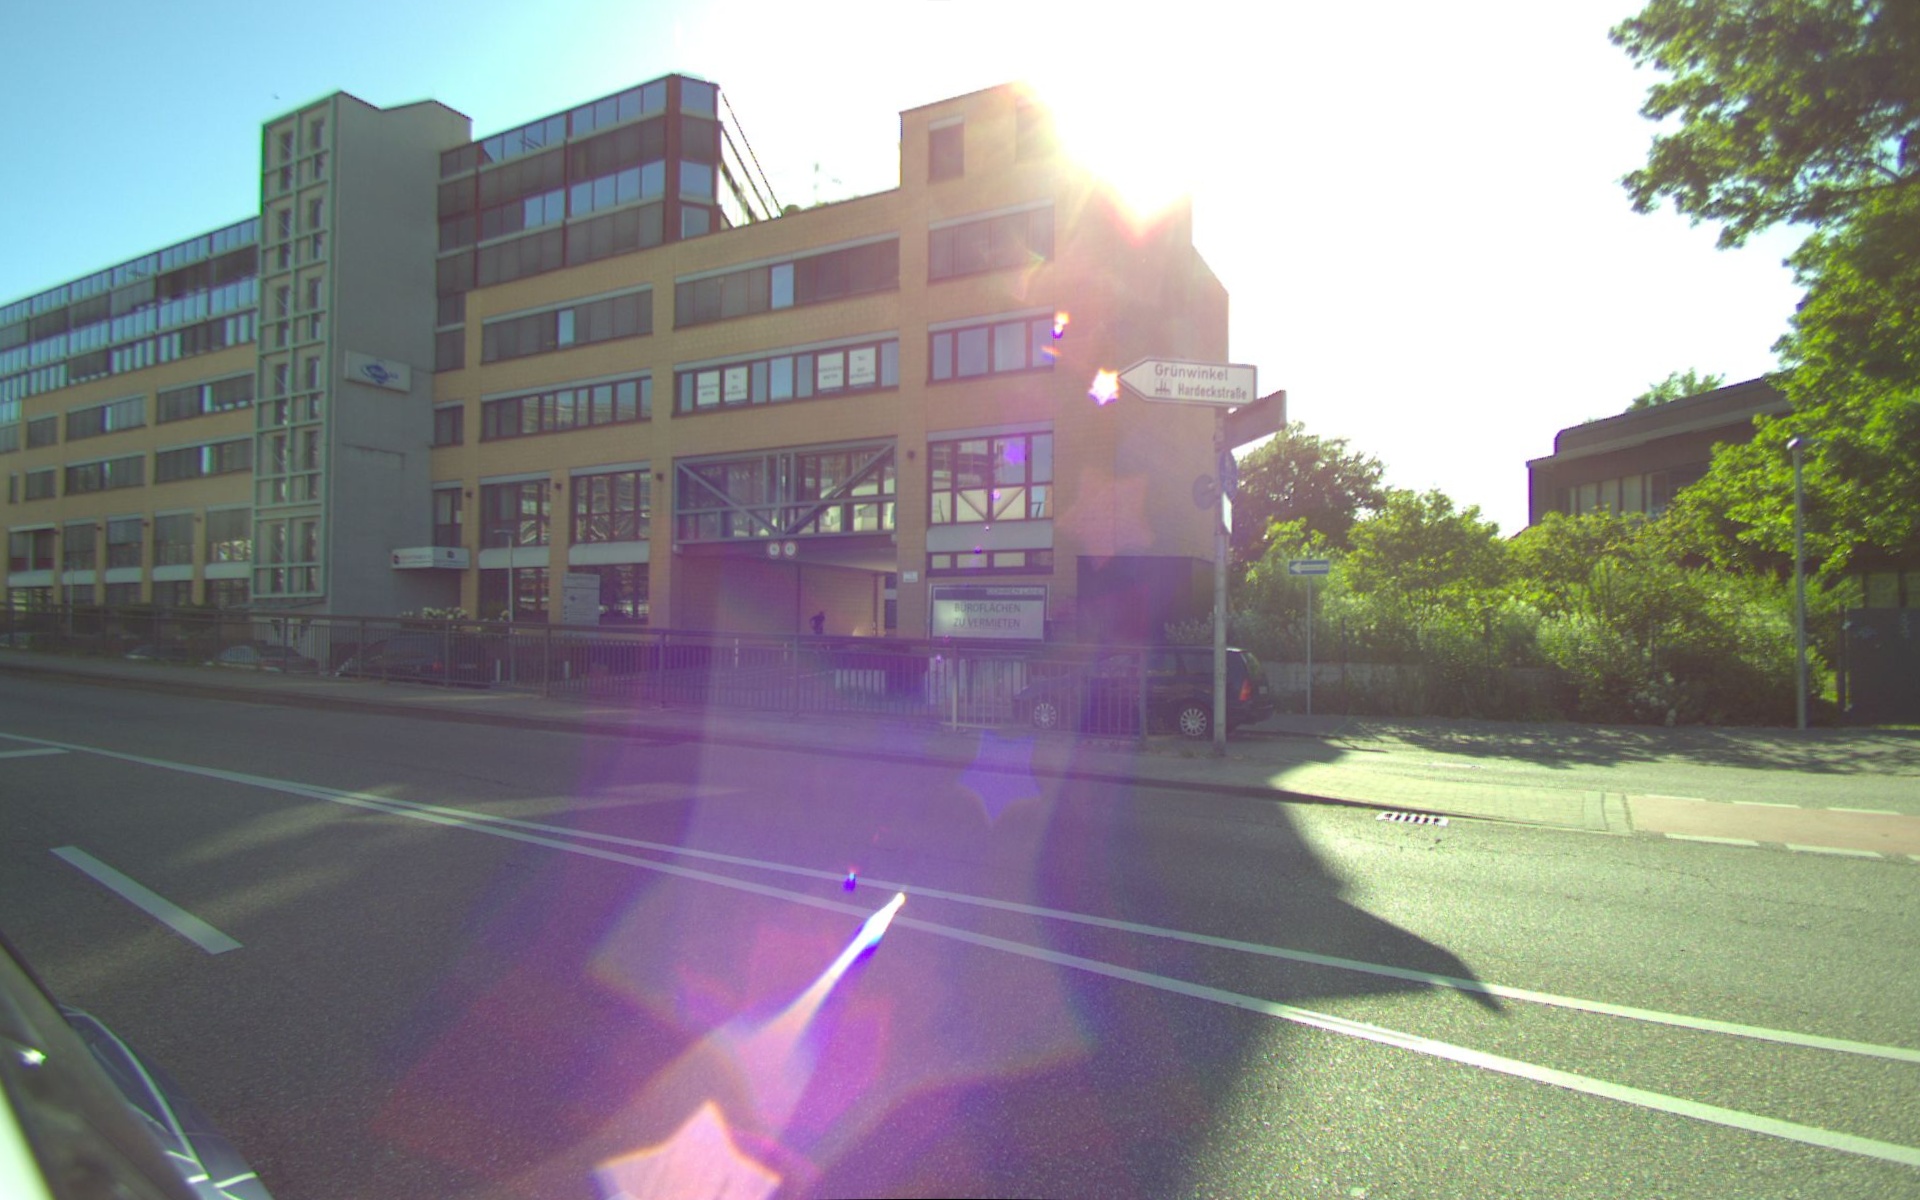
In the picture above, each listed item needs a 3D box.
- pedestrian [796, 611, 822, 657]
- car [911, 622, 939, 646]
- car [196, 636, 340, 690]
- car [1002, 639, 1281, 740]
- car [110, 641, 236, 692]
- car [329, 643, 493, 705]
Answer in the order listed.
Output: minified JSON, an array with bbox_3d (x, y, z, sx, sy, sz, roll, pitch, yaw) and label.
[{"bbox_3d":[-6.150,1.379,41.135,0.703,1.865,0.739,-1,-1,33],"label":"pedestrian"},{"bbox_3d":[-2.439,2.332,69.722,1.741,1.532,4.005,0,0,-5],"label":"car"},{"bbox_3d":[-21.059,1.873,30.777,4.140,1.535,1.863,-1,-2,27],"label":"car"},{"bbox_3d":[3.000,1.484,17.131,4.364,1.520,1.642,-3,-5,32],"label":"car"},{"bbox_3d":[-25.866,2.148,33.237,3.983,1.576,1.866,-1,-2,30],"label":"car"},{"bbox_3d":[-14.473,1.903,26.668,4.136,1.535,1.625,-1,-2,25],"label":"car"}]
